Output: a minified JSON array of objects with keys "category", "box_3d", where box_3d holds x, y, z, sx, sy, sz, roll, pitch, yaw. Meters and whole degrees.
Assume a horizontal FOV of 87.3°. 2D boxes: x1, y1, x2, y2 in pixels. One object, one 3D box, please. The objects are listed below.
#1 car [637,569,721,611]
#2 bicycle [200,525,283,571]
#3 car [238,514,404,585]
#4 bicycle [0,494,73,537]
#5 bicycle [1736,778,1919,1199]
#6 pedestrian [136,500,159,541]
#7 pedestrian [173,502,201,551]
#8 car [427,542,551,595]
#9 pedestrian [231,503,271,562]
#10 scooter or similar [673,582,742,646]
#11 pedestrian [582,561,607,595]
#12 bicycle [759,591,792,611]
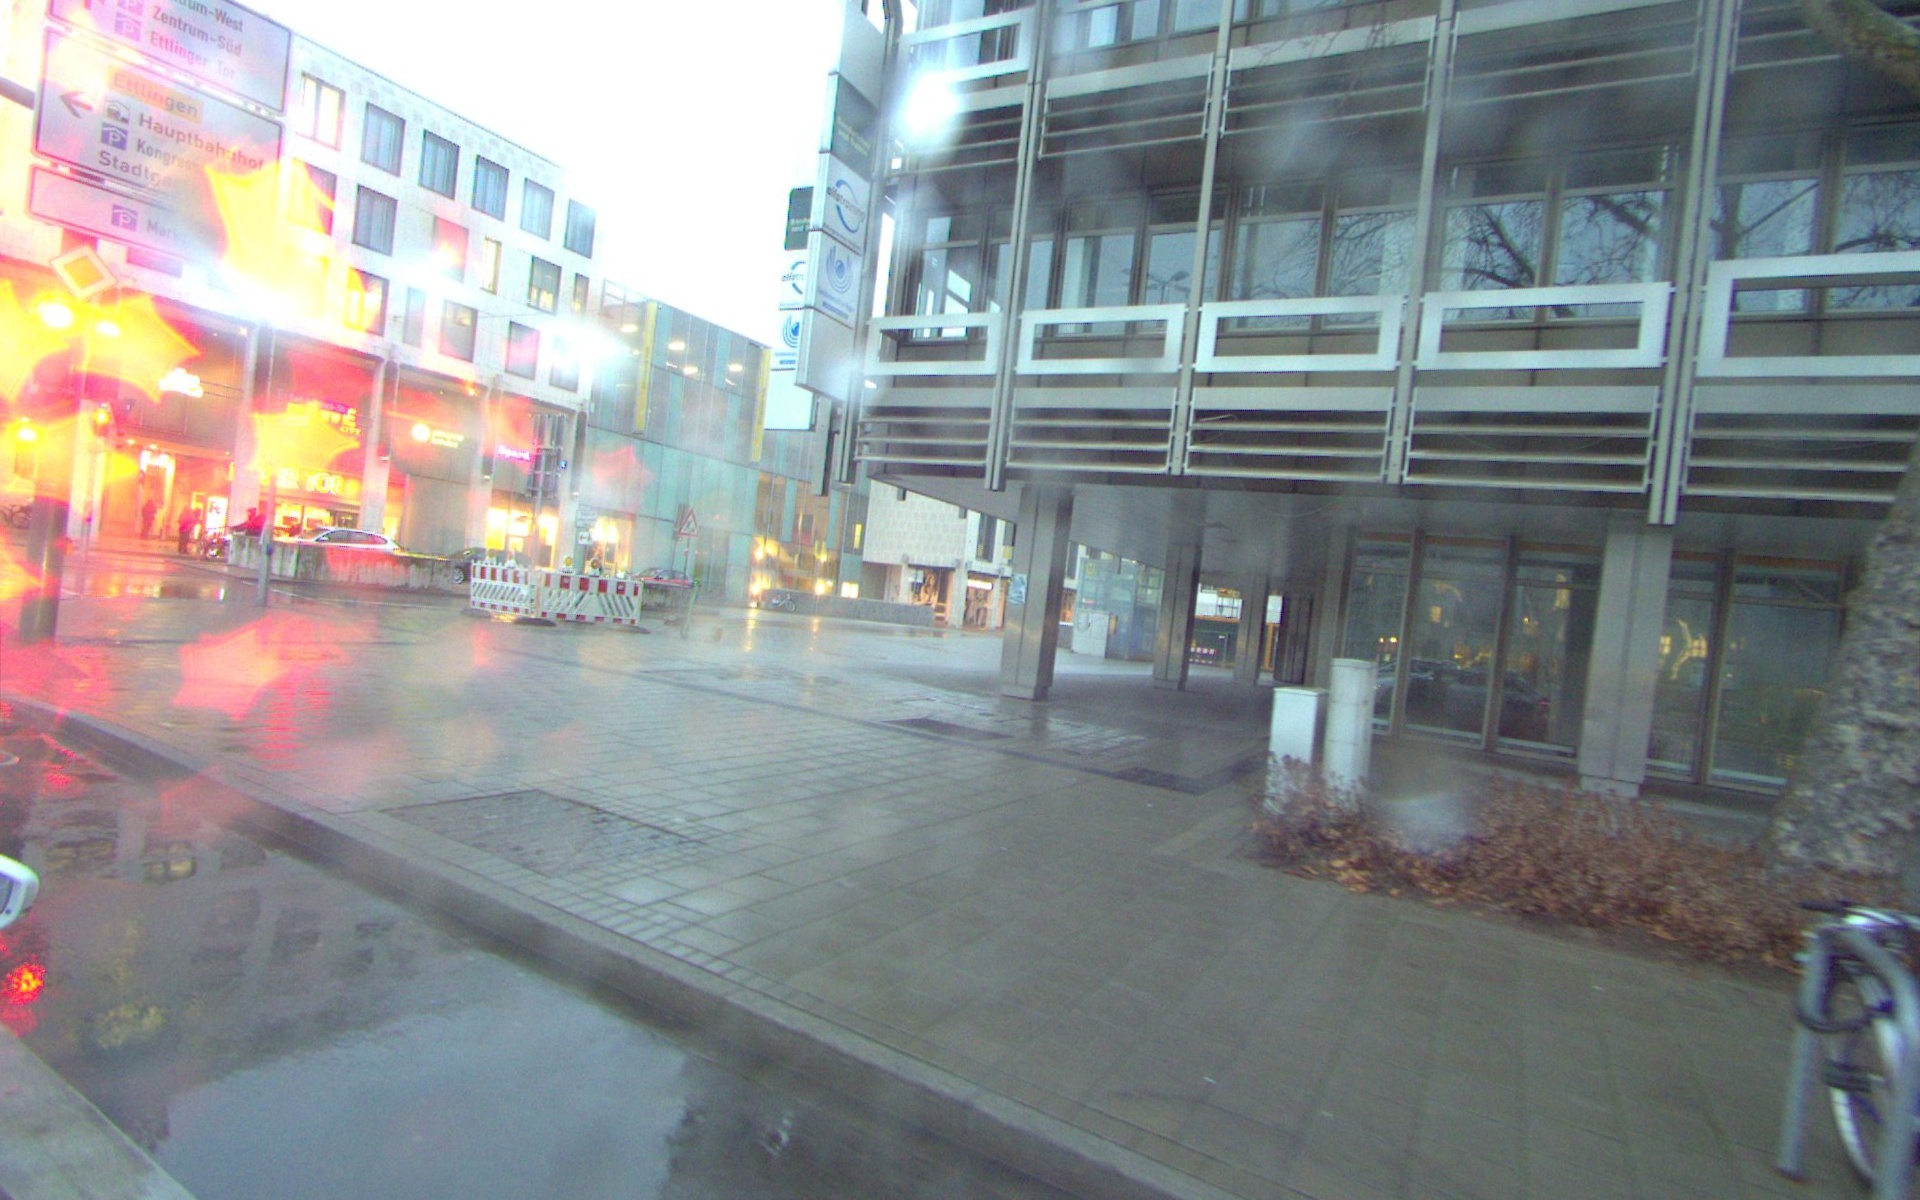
[{"category":"car","box_3d":[-13.141,-0.452,47.199,1.648,1.601,3.574,6,0,29]},{"category":"bicycle","box_3d":[-21.018,-1.514,29.450,1.839,1.107,0.610,7,0,-44]},{"category":"car","box_3d":[-21.334,-1.643,33.750,1.680,1.783,4.305,7,0,34]},{"category":"bicycle","box_3d":[-36.485,-3.319,39.423,0.623,1.345,2.431,7,0,27]},{"category":"bicycle","box_3d":[2.621,1.198,2.687,0.428,1.163,1.753,7,2,27]},{"category":"pedestrian","box_3d":[-36.092,-3.514,44.670,0.529,1.739,0.500,6,1,-21]},{"category":"pedestrian","box_3d":[-28.328,-2.673,36.879,0.529,1.706,0.546,6,1,-21]},{"category":"car","box_3d":[-18.245,-1.183,39.137,1.648,1.601,4.056,6,0,29]},{"category":"pedestrian","box_3d":[-20.844,-1.978,29.578,0.778,1.615,0.605,6,1,-43]},{"category":"scooter or similar","box_3d":[-5.180,0.284,20.633,1.215,1.144,0.606,7,1,32]},{"category":"pedestrian","box_3d":[-19.012,-1.142,52.296,0.697,1.650,0.795,6,-1,32]},{"category":"bicycle","box_3d":[-11.454,0.049,62.440,2.101,1.046,0.616,6,1,33]}]
